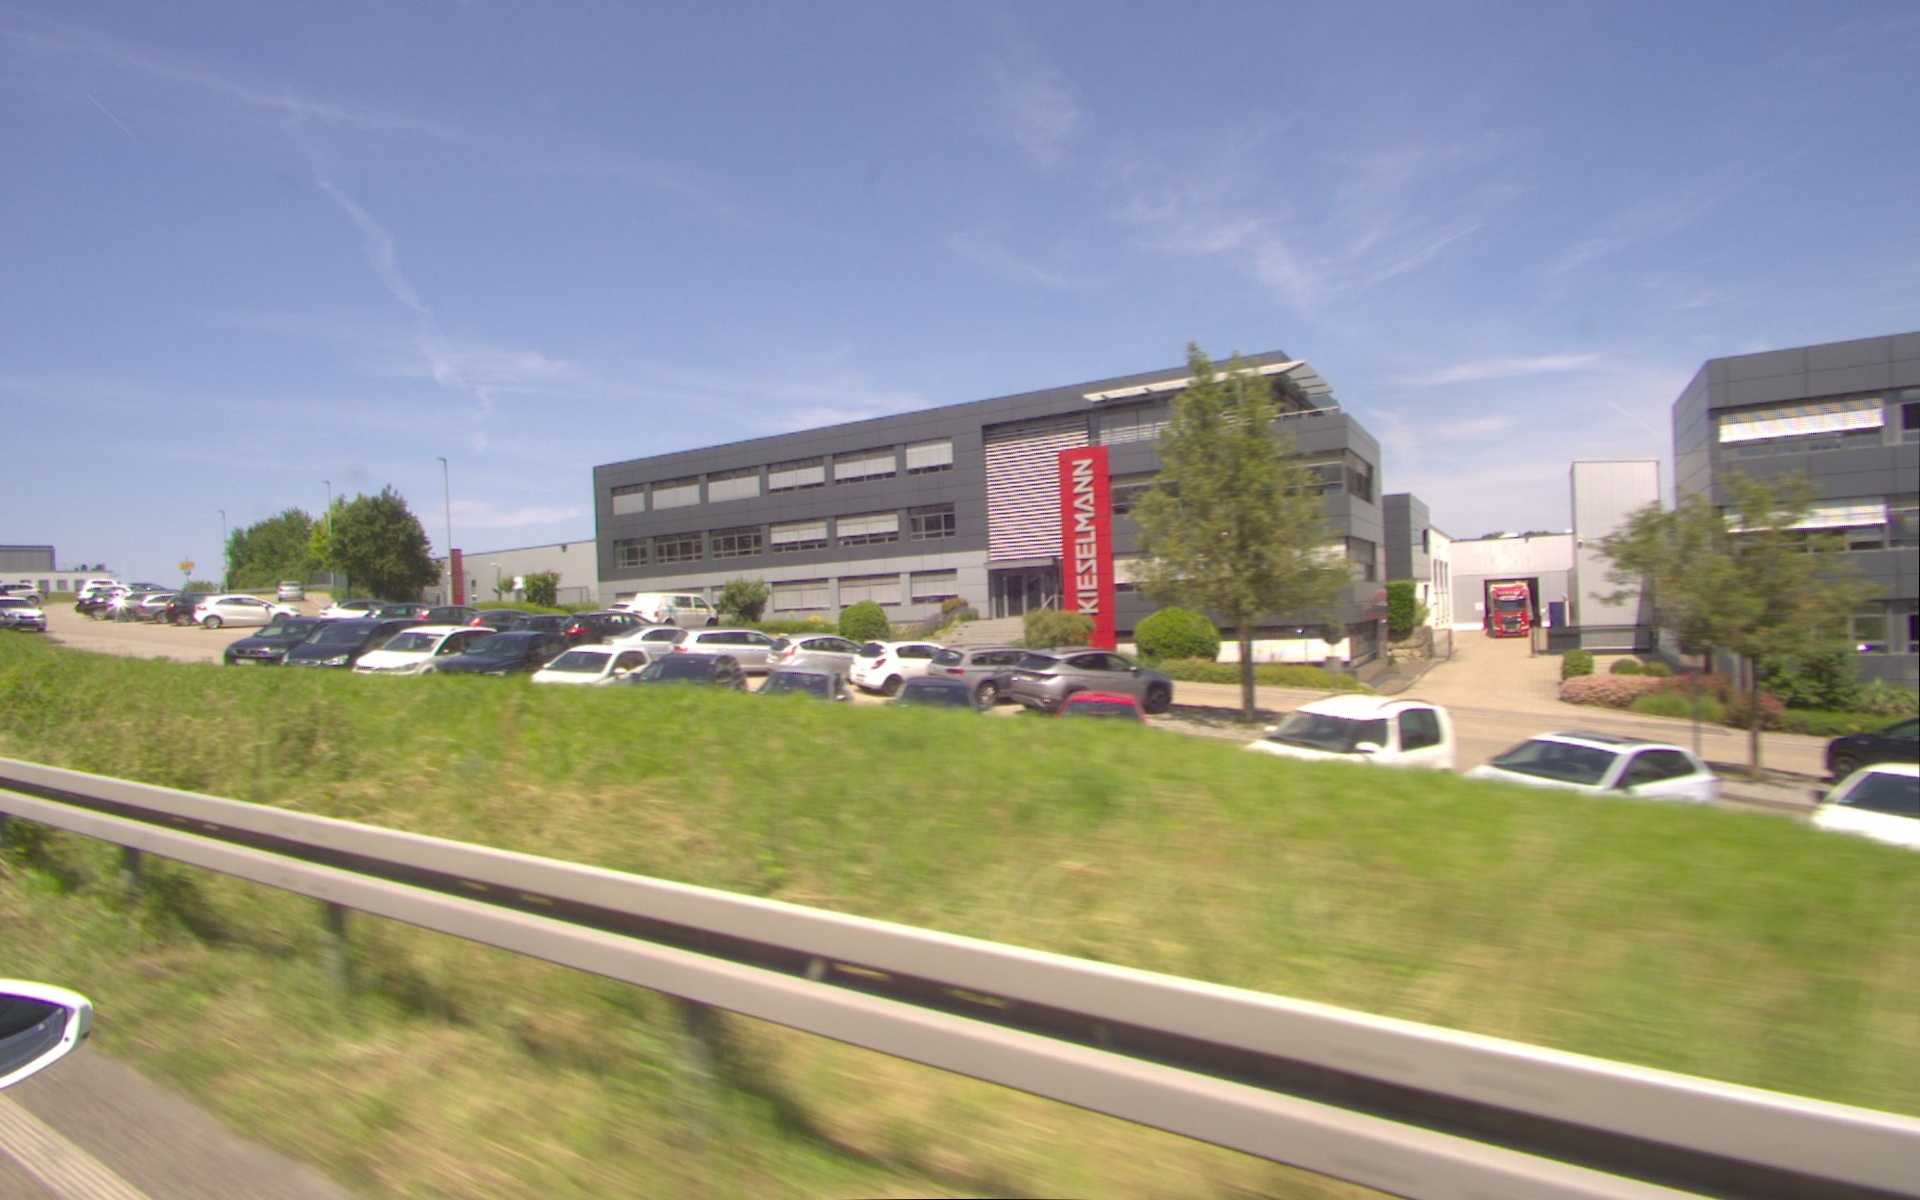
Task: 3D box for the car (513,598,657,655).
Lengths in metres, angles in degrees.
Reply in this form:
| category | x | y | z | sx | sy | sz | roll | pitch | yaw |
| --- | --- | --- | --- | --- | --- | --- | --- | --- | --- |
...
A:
| category | x | y | z | sx | sy | sz | roll | pitch | yaw |
| --- | --- | --- | --- | --- | --- | --- | --- | --- | --- |
| car | -13.512 | 0.985 | 36.211 | 4.528 | 1.648 | 1.810 | 6 | -4 | -32 |

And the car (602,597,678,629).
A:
| category | x | y | z | sx | sy | sz | roll | pitch | yaw |
| --- | --- | --- | --- | --- | --- | --- | --- | --- | --- |
| car | -17.012 | 0.643 | 53.386 | 1.659 | 1.609 | 3.654 | 2 | 1 | 32 |

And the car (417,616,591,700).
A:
| category | x | y | z | sx | sy | sz | roll | pitch | yaw |
| --- | --- | --- | --- | --- | --- | --- | --- | --- | --- |
| car | -10.708 | 1.392 | 23.912 | 1.851 | 1.706 | 4.382 | 4 | -3 | 3 |

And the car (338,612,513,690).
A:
| category | x | y | z | sx | sy | sz | roll | pitch | yaw |
| --- | --- | --- | --- | --- | --- | --- | --- | --- | --- |
| car | -13.566 | 1.336 | 25.760 | 1.851 | 1.706 | 4.382 | 4 | -3 | 3 |

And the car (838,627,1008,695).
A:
| category | x | y | z | sx | sy | sz | roll | pitch | yaw |
| --- | --- | --- | --- | --- | --- | --- | --- | --- | --- |
| car | -1.029 | 1.725 | 28.760 | 4.527 | 1.651 | 1.807 | 2 | 4 | -34 |

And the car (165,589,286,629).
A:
| category | x | y | z | sx | sy | sz | roll | pitch | yaw |
| --- | --- | --- | --- | --- | --- | --- | --- | --- | --- |
| car | -35.018 | 0.455 | 47.851 | 4.535 | 1.649 | 1.806 | 4 | -2 | -38 |

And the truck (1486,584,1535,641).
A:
| category | x | y | z | sx | sy | sz | roll | pitch | yaw |
| --- | --- | --- | --- | --- | --- | --- | --- | --- | --- |
| truck | 46.024 | 1.141 | 83.495 | 3.187 | 4.299 | 13.846 | 2 | -1 | 30 |

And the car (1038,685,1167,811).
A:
| category | x | y | z | sx | sy | sz | roll | pitch | yaw |
| --- | --- | --- | --- | --- | --- | --- | --- | --- | --- |
| car | 2.526 | 2.429 | 17.443 | 1.852 | 1.706 | 4.380 | 3 | -3 | 10 |

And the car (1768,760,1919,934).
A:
| category | x | y | z | sx | sy | sz | roll | pitch | yaw |
| --- | --- | --- | --- | --- | --- | --- | --- | --- | --- |
| car | 11.179 | 2.732 | 11.461 | 4.325 | 1.578 | 1.875 | 6 | -4 | -35 |

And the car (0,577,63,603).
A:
| category | x | y | z | sx | sy | sz | roll | pitch | yaw |
| --- | --- | --- | --- | --- | --- | --- | --- | --- | --- |
| car | -66.310 | -0.721 | 70.648 | 1.851 | 1.708 | 4.376 | 4 | 0 | 3 |

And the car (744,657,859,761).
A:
| category | x | y | z | sx | sy | sz | roll | pitch | yaw |
| --- | --- | --- | --- | --- | --- | --- | --- | --- | --- |
| car | -3.012 | 2.056 | 19.853 | 1.852 | 1.706 | 4.380 | 4 | -3 | -5 |

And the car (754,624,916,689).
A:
| category | x | y | z | sx | sy | sz | roll | pitch | yaw |
| --- | --- | --- | --- | --- | --- | --- | --- | --- | --- |
| car | -3.714 | 1.628 | 30.122 | 4.524 | 1.499 | 1.807 | -2 | 5 | -34 |

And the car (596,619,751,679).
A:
| category | x | y | z | sx | sy | sz | roll | pitch | yaw |
| --- | --- | --- | --- | --- | --- | --- | --- | --- | --- |
| car | -9.432 | 1.627 | 33.133 | 4.528 | 1.648 | 1.810 | 6 | -4 | -32 |

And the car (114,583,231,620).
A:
| category | x | y | z | sx | sy | sz | roll | pitch | yaw |
| --- | --- | --- | --- | --- | --- | --- | --- | --- | --- |
| car | -40.050 | 0.096 | 51.053 | 4.535 | 1.649 | 1.806 | 4 | -2 | -38 |

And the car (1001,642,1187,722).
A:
| category | x | y | z | sx | sy | sz | roll | pitch | yaw |
| --- | --- | --- | --- | --- | --- | --- | --- | --- | --- |
| car | 3.410 | 1.981 | 25.173 | 4.526 | 1.651 | 1.808 | 1 | 2 | -34 |

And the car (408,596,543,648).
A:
| category | x | y | z | sx | sy | sz | roll | pitch | yaw |
| --- | --- | --- | --- | --- | --- | --- | --- | --- | --- |
| car | -19.048 | 0.890 | 39.408 | 4.528 | 1.648 | 1.810 | 6 | -4 | -32 |

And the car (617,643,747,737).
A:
| category | x | y | z | sx | sy | sz | roll | pitch | yaw |
| --- | --- | --- | --- | --- | --- | --- | --- | --- | --- |
| car | -5.861 | 1.871 | 21.640 | 1.852 | 1.706 | 4.380 | 4 | -3 | -5 |

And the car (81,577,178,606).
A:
| category | x | y | z | sx | sy | sz | roll | pitch | yaw |
| --- | --- | --- | --- | --- | --- | --- | --- | --- | --- |
| car | -54.373 | -0.538 | 65.683 | 4.514 | 1.649 | 1.814 | 2 | -2 | -25 |

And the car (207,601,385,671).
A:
| category | x | y | z | sx | sy | sz | roll | pitch | yaw |
| --- | --- | --- | --- | --- | --- | --- | --- | --- | --- |
| car | -18.587 | 1.086 | 28.320 | 1.851 | 1.706 | 4.382 | 4 | -3 | 3 |

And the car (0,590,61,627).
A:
| category | x | y | z | sx | sy | sz | roll | pitch | yaw |
| --- | --- | --- | --- | --- | --- | --- | --- | --- | --- |
| car | -40.024 | 0.326 | 42.447 | 3.652 | 1.370 | 1.625 | 2 | -4 | 28 |

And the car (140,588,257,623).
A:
| category | x | y | z | sx | sy | sz | roll | pitch | yaw |
| --- | --- | --- | --- | --- | --- | --- | --- | --- | --- |
| car | -37.544 | 0.308 | 49.455 | 4.533 | 1.650 | 1.806 | 1 | -1 | -38 |

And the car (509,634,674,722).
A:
| category | x | y | z | sx | sy | sz | roll | pitch | yaw |
| --- | --- | --- | --- | --- | --- | --- | --- | --- | --- |
| car | -8.247 | 1.751 | 22.881 | 1.851 | 1.706 | 4.382 | 4 | -3 | 3 |

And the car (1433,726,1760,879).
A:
| category | x | y | z | sx | sy | sz | roll | pitch | yaw |
| --- | --- | --- | --- | --- | --- | --- | --- | --- | --- |
| car | 8.544 | 2.608 | 13.362 | 4.318 | 1.578 | 1.879 | 6 | -4 | -30 |

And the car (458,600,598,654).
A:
| category | x | y | z | sx | sy | sz | roll | pitch | yaw |
| --- | --- | --- | --- | --- | --- | --- | --- | --- | --- |
| car | -16.233 | 1.051 | 37.726 | 4.528 | 1.648 | 1.810 | 6 | -4 | -32 |

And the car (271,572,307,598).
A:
| category | x | y | z | sx | sy | sz | roll | pitch | yaw |
| --- | --- | --- | --- | --- | --- | --- | --- | --- | --- |
| car | -50.191 | -1.113 | 74.948 | 1.785 | 1.683 | 3.984 | 1 | -2 | -27 |

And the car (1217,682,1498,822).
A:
| category | x | y | z | sx | sy | sz | roll | pitch | yaw |
| --- | --- | --- | --- | --- | --- | --- | --- | --- | --- |
| car | 6.047 | 2.222 | 15.027 | 4.411 | 1.706 | 1.874 | 6 | -4 | -37 |

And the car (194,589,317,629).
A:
| category | x | y | z | sx | sy | sz | roll | pitch | yaw |
| --- | --- | --- | --- | --- | --- | --- | --- | --- | --- |
| car | -32.657 | 0.432 | 46.482 | 4.535 | 1.649 | 1.806 | 3 | -2 | -38 |

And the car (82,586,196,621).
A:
| category | x | y | z | sx | sy | sz | roll | pitch | yaw |
| --- | --- | --- | --- | --- | --- | --- | --- | --- | --- |
| car | -42.883 | 0.215 | 52.420 | 4.534 | 1.649 | 1.807 | 1 | -3 | -38 |

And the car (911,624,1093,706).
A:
| category | x | y | z | sx | sy | sz | roll | pitch | yaw |
| --- | --- | --- | --- | --- | --- | --- | --- | --- | --- |
| car | 1.178 | 1.778 | 26.918 | 4.530 | 1.651 | 1.807 | 6 | 5 | -33 |

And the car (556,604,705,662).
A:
| category | x | y | z | sx | sy | sz | roll | pitch | yaw |
| --- | --- | --- | --- | --- | --- | --- | --- | --- | --- |
| car | -11.328 | 1.165 | 34.534 | 4.528 | 1.648 | 1.810 | 6 | -4 | -32 |

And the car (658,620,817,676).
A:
| category | x | y | z | sx | sy | sz | roll | pitch | yaw |
| --- | --- | --- | --- | --- | --- | --- | --- | --- | --- |
| car | -6.941 | 1.469 | 31.273 | 4.519 | 1.541 | 1.810 | 1 | 3 | -28 |

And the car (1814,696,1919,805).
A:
| category | x | y | z | sx | sy | sz | roll | pitch | yaw |
| --- | --- | --- | --- | --- | --- | --- | --- | --- | --- |
| car | 17.671 | 2.815 | 17.426 | 1.785 | 1.651 | 4.239 | 4 | 2 | -1 |

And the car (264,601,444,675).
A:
| category | x | y | z | sx | sy | sz | roll | pitch | yaw |
| --- | --- | --- | --- | --- | --- | --- | --- | --- | --- |
| car | -15.991 | 1.077 | 26.744 | 1.851 | 1.706 | 4.382 | 4 | -3 | 3 |

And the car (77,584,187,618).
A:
| category | x | y | z | sx | sy | sz | roll | pitch | yaw |
| --- | --- | --- | --- | --- | --- | --- | --- | --- | --- |
| car | -45.093 | 0.076 | 54.692 | 4.534 | 1.649 | 1.807 | 2 | -2 | -38 |

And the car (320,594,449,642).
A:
| category | x | y | z | sx | sy | sz | roll | pitch | yaw |
| --- | --- | --- | --- | --- | --- | --- | --- | --- | --- |
| car | -24.269 | 0.781 | 42.321 | 4.528 | 1.648 | 1.810 | 6 | -4 | -32 |

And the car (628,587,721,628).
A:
| category | x | y | z | sx | sy | sz | roll | pitch | yaw |
| --- | --- | --- | --- | --- | --- | --- | --- | --- | --- |
| car | -14.564 | 0.375 | 51.363 | 1.794 | 1.976 | 4.563 | 2 | 1 | 32 |

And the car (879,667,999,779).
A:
| category | x | y | z | sx | sy | sz | roll | pitch | yaw |
| --- | --- | --- | --- | --- | --- | --- | --- | --- | --- |
| car | -0.514 | 2.197 | 18.896 | 1.852 | 1.706 | 4.380 | 4 | -3 | -5 |
